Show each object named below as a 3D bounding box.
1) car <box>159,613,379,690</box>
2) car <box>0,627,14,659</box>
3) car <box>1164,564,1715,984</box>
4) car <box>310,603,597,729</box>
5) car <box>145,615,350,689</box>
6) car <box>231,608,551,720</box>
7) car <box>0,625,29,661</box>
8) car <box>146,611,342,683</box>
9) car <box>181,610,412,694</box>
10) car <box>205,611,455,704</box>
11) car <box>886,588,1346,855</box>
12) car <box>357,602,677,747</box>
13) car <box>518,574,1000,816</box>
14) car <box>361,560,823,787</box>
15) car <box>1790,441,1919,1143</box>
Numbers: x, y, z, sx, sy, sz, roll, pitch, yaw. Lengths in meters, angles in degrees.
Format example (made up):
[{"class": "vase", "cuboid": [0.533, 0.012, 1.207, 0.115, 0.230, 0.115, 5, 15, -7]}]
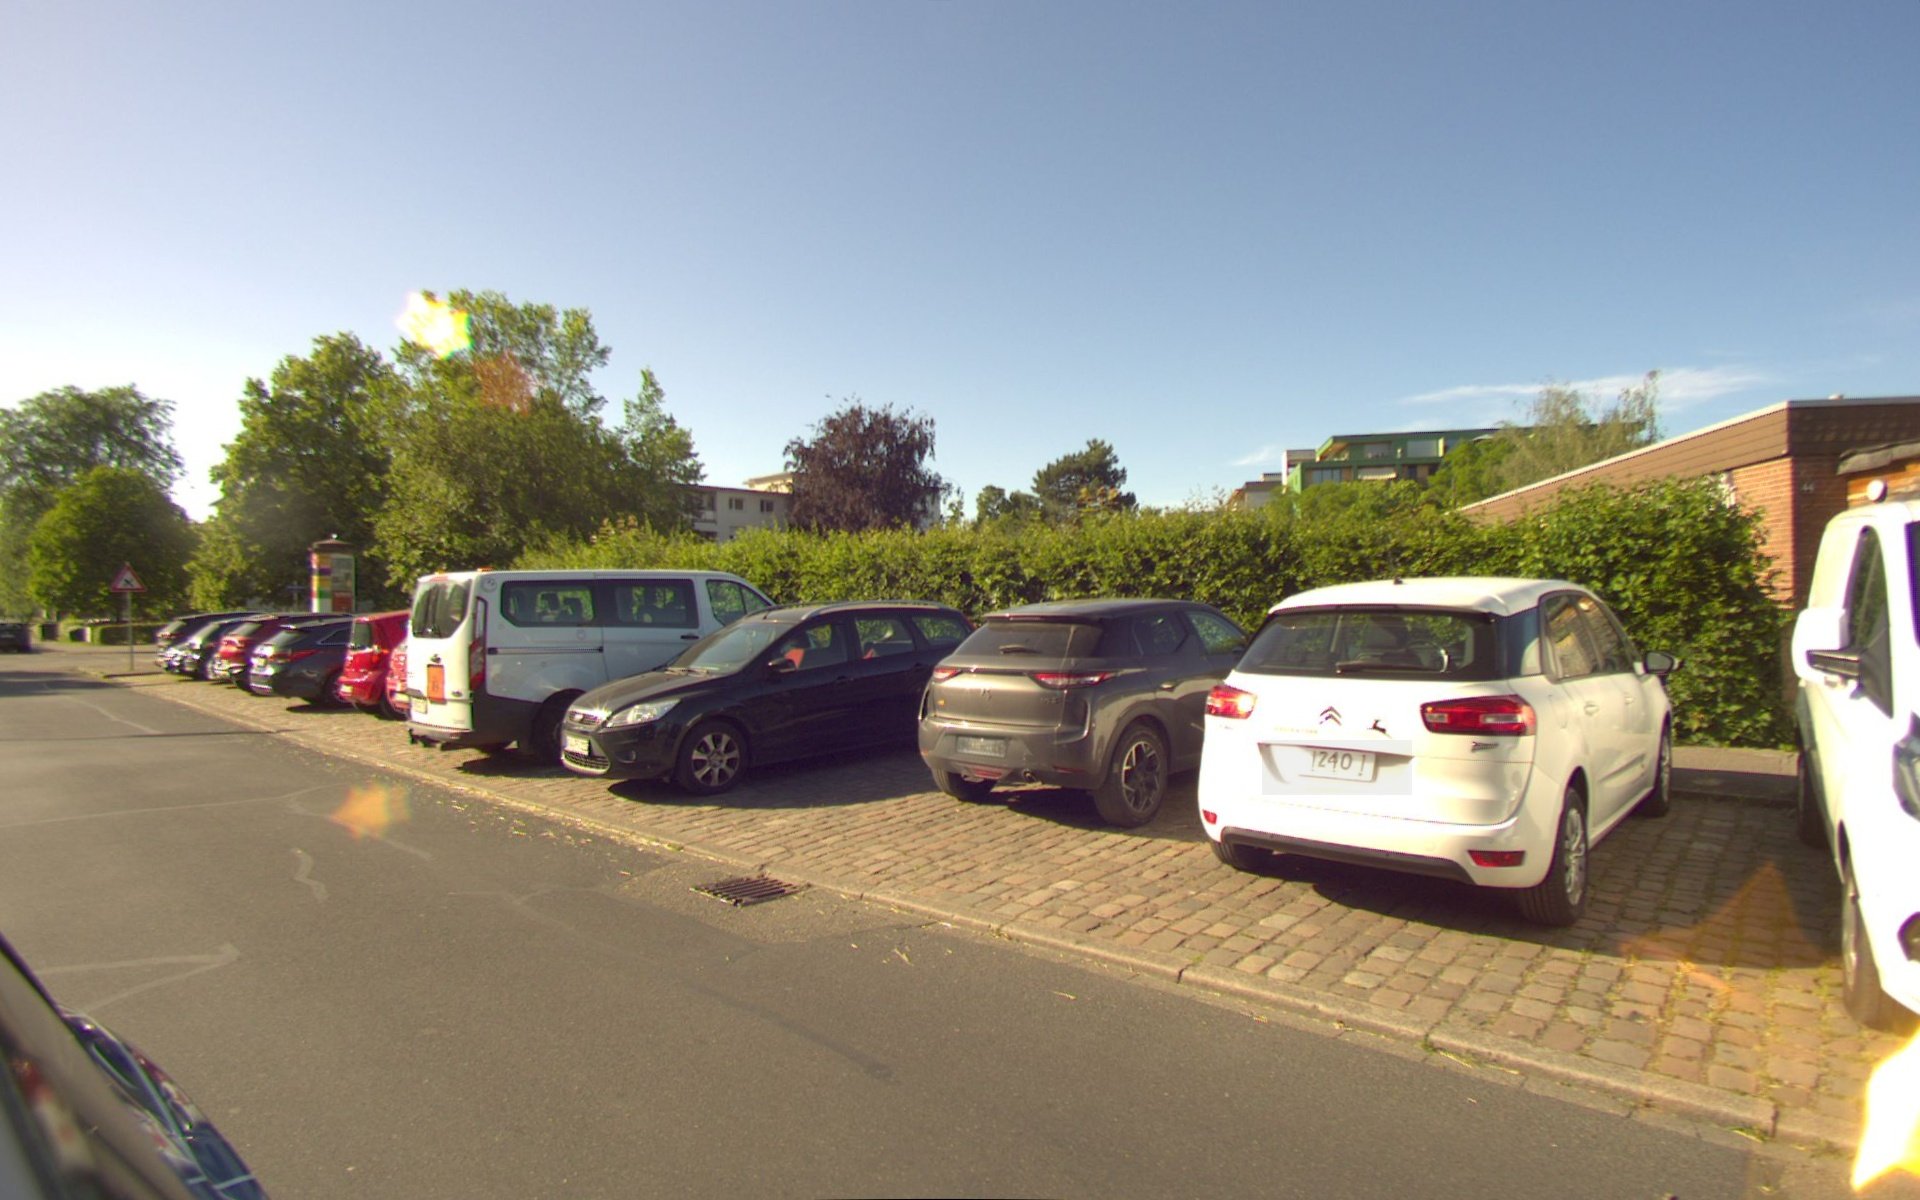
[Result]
[{"class": "car", "cuboid": [-16.669, 1.168, 24.563, 1.812, 1.524, 4.050, -1, 2, 41]}, {"class": "car", "cuboid": [-52.656, 2.326, 54.849, 3.649, 1.695, 1.793, -2, -3, 44]}, {"class": "car", "cuboid": [3.097, 0.639, 6.065, 1.884, 1.594, 3.944, -1, 2, 43]}, {"class": "car", "cuboid": [-7.878, 0.940, 15.923, 1.881, 1.579, 3.563, -2, 1, 43]}, {"class": "car", "cuboid": [-18.159, 1.250, 25.915, 1.831, 1.544, 3.945, -1, 2, 42]}, {"class": "car", "cuboid": [-9.741, 1.010, 17.607, 1.748, 1.490, 4.494, -2, 1, 43]}, {"class": "car", "cuboid": [-45.592, 2.050, 48.028, 4.424, 1.586, 1.760, -2, -1, 44]}, {"class": "car", "cuboid": [-20.057, 1.249, 28.472, 1.846, 1.668, 4.144, -1, 2, 41]}, {"class": "car", "cuboid": [-14.921, 1.090, 22.910, 1.905, 1.524, 3.977, -1, 2, 42]}, {"class": "car", "cuboid": [-12.675, 1.086, 20.515, 1.791, 1.490, 3.944, -2, 1, 43]}, {"class": "car", "cuboid": [1.428, 0.732, 8.152, 1.884, 1.498, 3.727, -1, 2, 43]}, {"class": "car", "cuboid": [-6.006, 0.911, 13.991, 1.851, 1.579, 3.565, -2, 1, 41]}, {"class": "car", "cuboid": [-1.761, 0.686, 9.683, 4.102, 1.718, 1.886, -3, 2, -42]}, {"class": "car", "cuboid": [-3.925, 0.603, 11.418, 2.000, 1.991, 4.431, -1, 2, 42]}, {"class": "car", "cuboid": [4.814, 0.429, 4.073, 2.079, 1.935, 4.745, -1, 2, 37]}]
